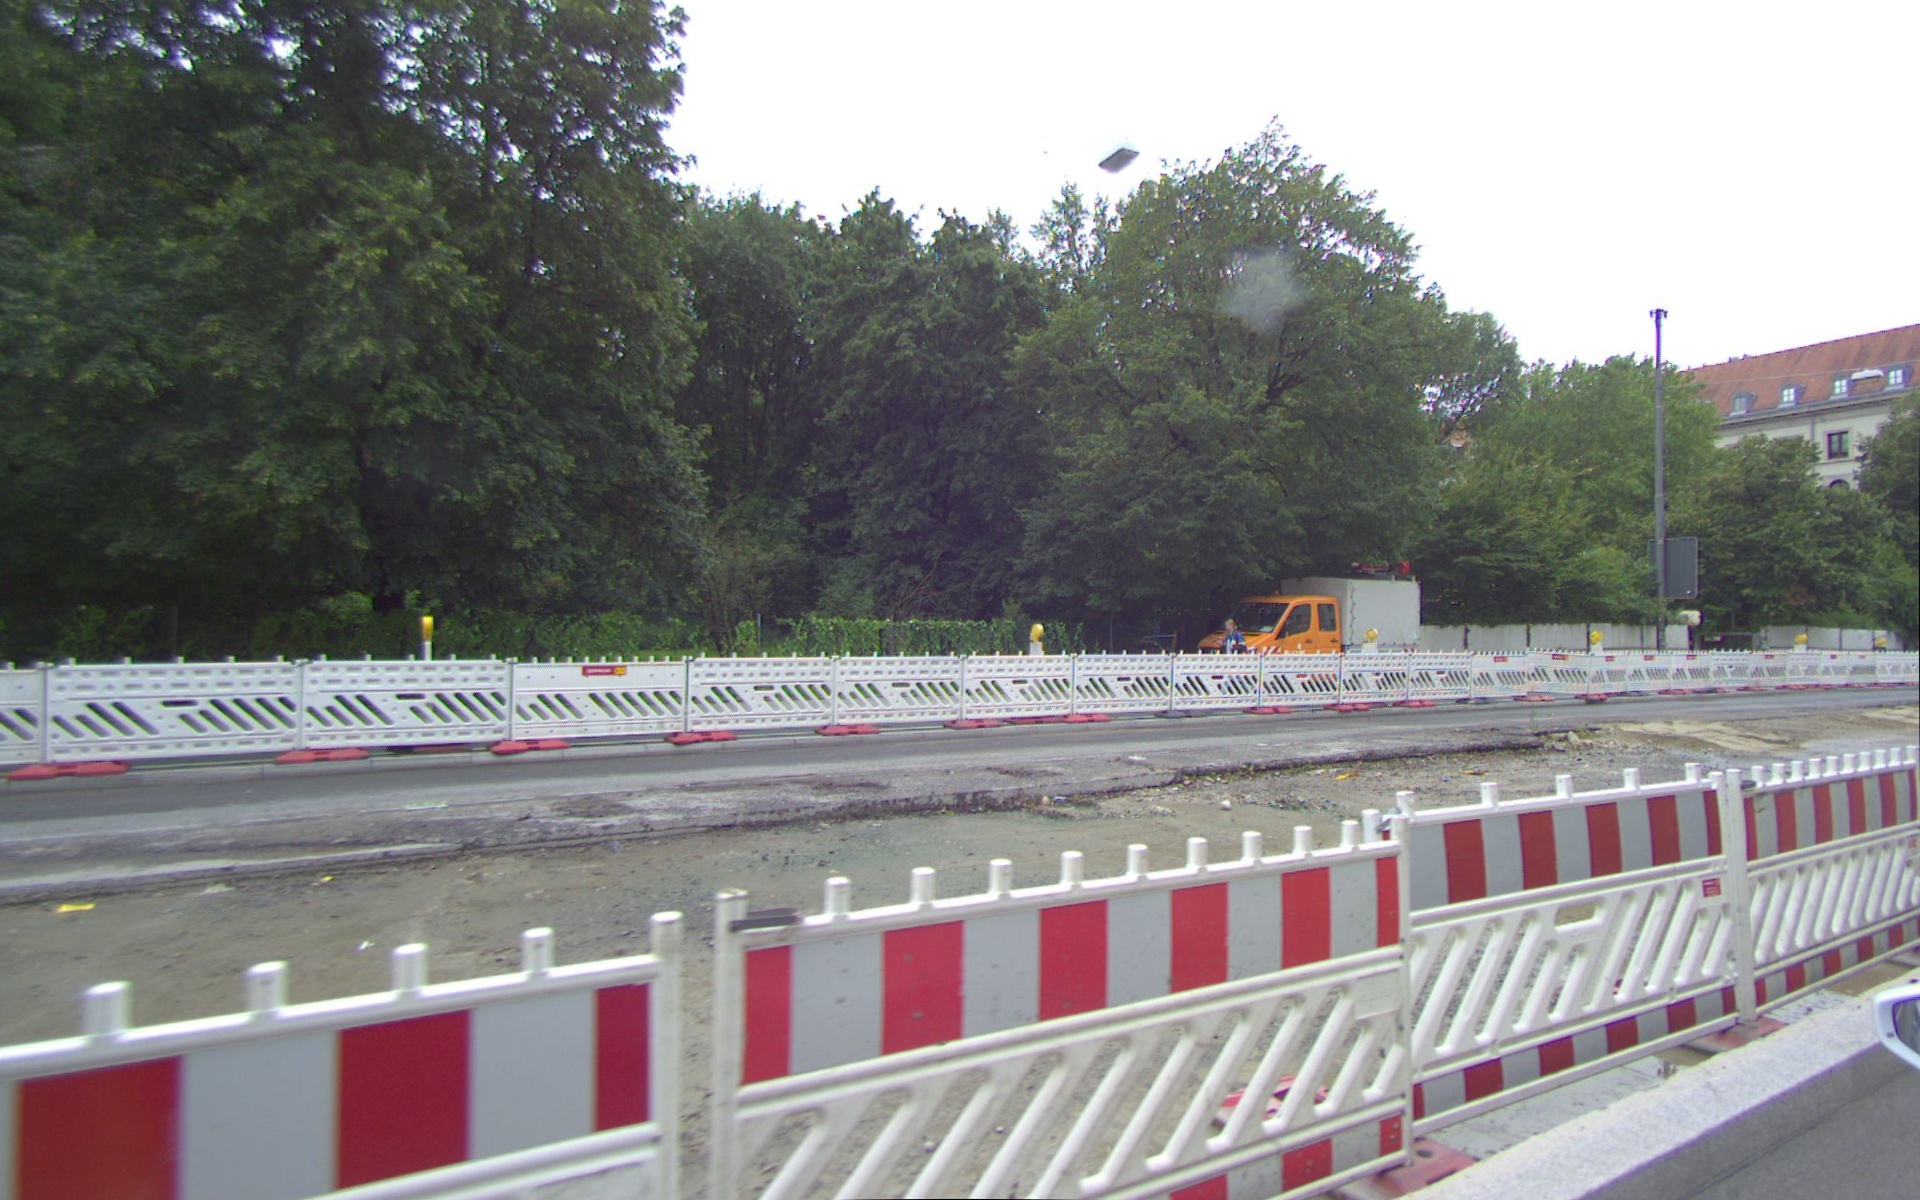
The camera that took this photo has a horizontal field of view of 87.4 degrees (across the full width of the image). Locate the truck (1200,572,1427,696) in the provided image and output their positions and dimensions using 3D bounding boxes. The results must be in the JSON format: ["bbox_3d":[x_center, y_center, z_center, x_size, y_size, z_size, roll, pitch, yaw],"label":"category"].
[{"bbox_3d":[8.749,0.823,24.685,5.800,2.764,1.984,1,-2,-30],"label":"truck"}]

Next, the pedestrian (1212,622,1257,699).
[{"bbox_3d":[5.929,1.285,21.726,0.690,1.624,0.660,1,-1,-29],"label":"pedestrian"}]
